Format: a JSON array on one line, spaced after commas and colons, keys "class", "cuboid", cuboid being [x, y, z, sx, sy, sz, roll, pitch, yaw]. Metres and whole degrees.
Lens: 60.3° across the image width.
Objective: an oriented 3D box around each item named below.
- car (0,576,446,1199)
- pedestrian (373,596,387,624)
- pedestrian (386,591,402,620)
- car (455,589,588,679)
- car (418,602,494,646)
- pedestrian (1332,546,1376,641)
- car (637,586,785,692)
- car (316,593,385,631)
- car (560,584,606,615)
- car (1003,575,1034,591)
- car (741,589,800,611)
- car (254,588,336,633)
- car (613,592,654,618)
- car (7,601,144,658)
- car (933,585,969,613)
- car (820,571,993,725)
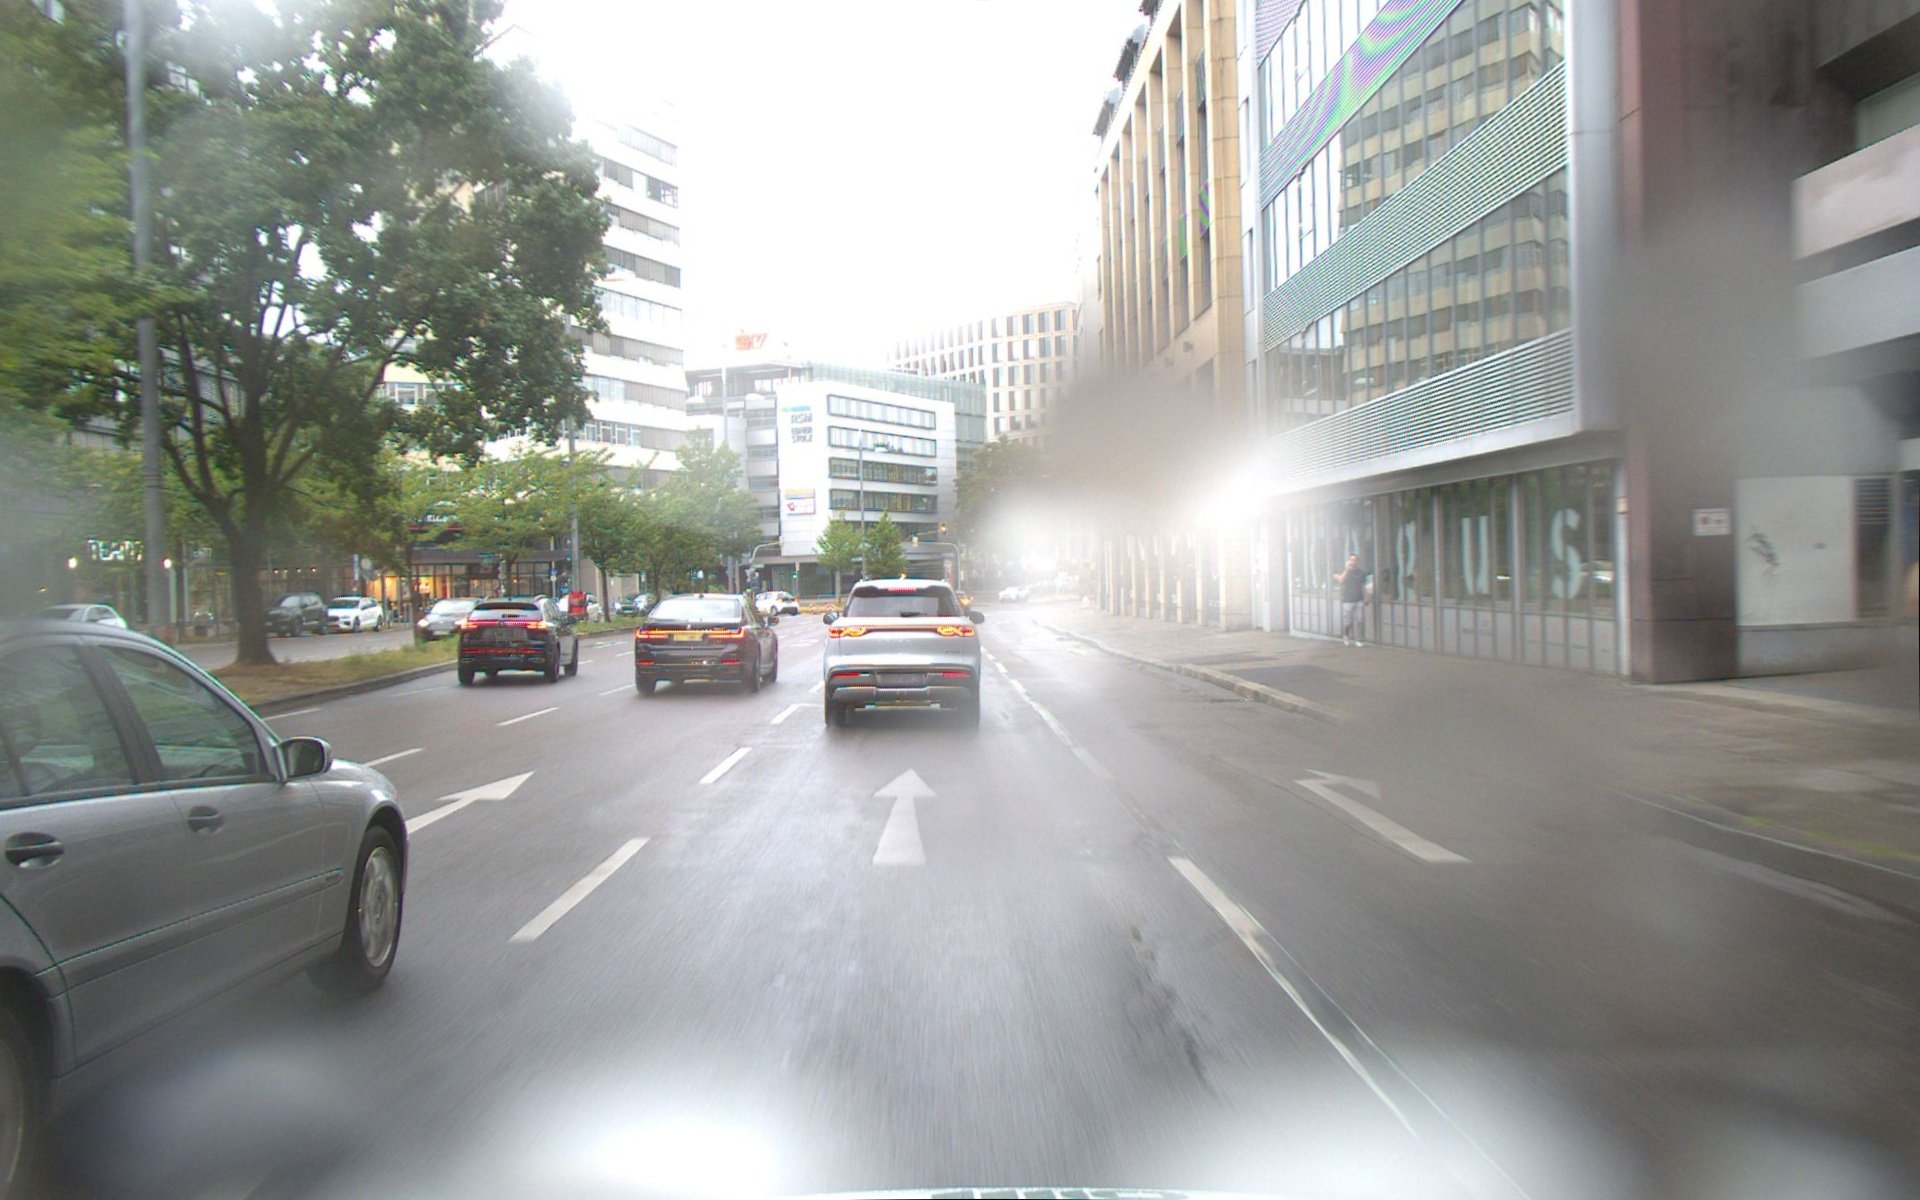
[{"class": "car", "cuboid": [-2.897, 0.707, 4.589, 1.638, 1.505, 4.359, 0, 0, -1]}, {"class": "pedestrian", "cuboid": [-32.037, 0.551, 91.381, 0.597, 1.530, 0.431, -1, 0, -39]}, {"class": "pedestrian", "cuboid": [-33.430, 0.320, 97.705, 0.746, 1.743, 0.585, -1, 0, -39]}, {"class": "car", "cuboid": [-7.967, 0.589, 30.381, 1.740, 1.482, 3.994, -2, 0, -6]}, {"class": "car", "cuboid": [-16.441, 0.757, 54.094, 1.592, 1.334, 3.614, -2, 0, -5]}, {"class": "pedestrian", "cuboid": [7.690, -0.126, 32.290, 0.622, 1.803, 0.789, -2, 0, -1]}, {"class": "car", "cuboid": [-3.907, 0.551, 26.673, 1.835, 1.505, 4.875, -1, 0, -3]}, {"class": "car", "cuboid": [-25.389, 0.476, 68.975, 1.591, 1.486, 3.961, 0, 1, -3]}, {"class": "car", "cuboid": [-19.599, -0.014, 86.144, 1.591, 1.518, 4.304, -2, 0, -3]}, {"class": "car", "cuboid": [6.005, -1.696, 168.587, 1.551, 1.565, 3.994, -1, 1, 29]}, {"class": "car", "cuboid": [-11.949, 0.011, 104.069, 1.647, 1.365, 3.933, -1, 1, -45]}, {"class": "car", "cuboid": [-25.232, 0.356, 62.917, 1.591, 1.639, 4.230, 0, 1, -3]}, {"class": "car", "cuboid": [-19.528, 0.290, 99.142, 1.590, 1.478, 4.162, -2, 0, 0]}, {"class": "car", "cuboid": [-24.733, 0.801, 46.423, 1.591, 1.458, 4.443, -2, 0, -3]}, {"class": "car", "cuboid": [-0.515, -0.061, 98.578, 1.773, 1.606, 4.003, -1, 1, 5]}, {"class": "car", "cuboid": [-0.622, 0.509, 19.906, 1.862, 1.650, 3.999, -1, 0, -1]}]
